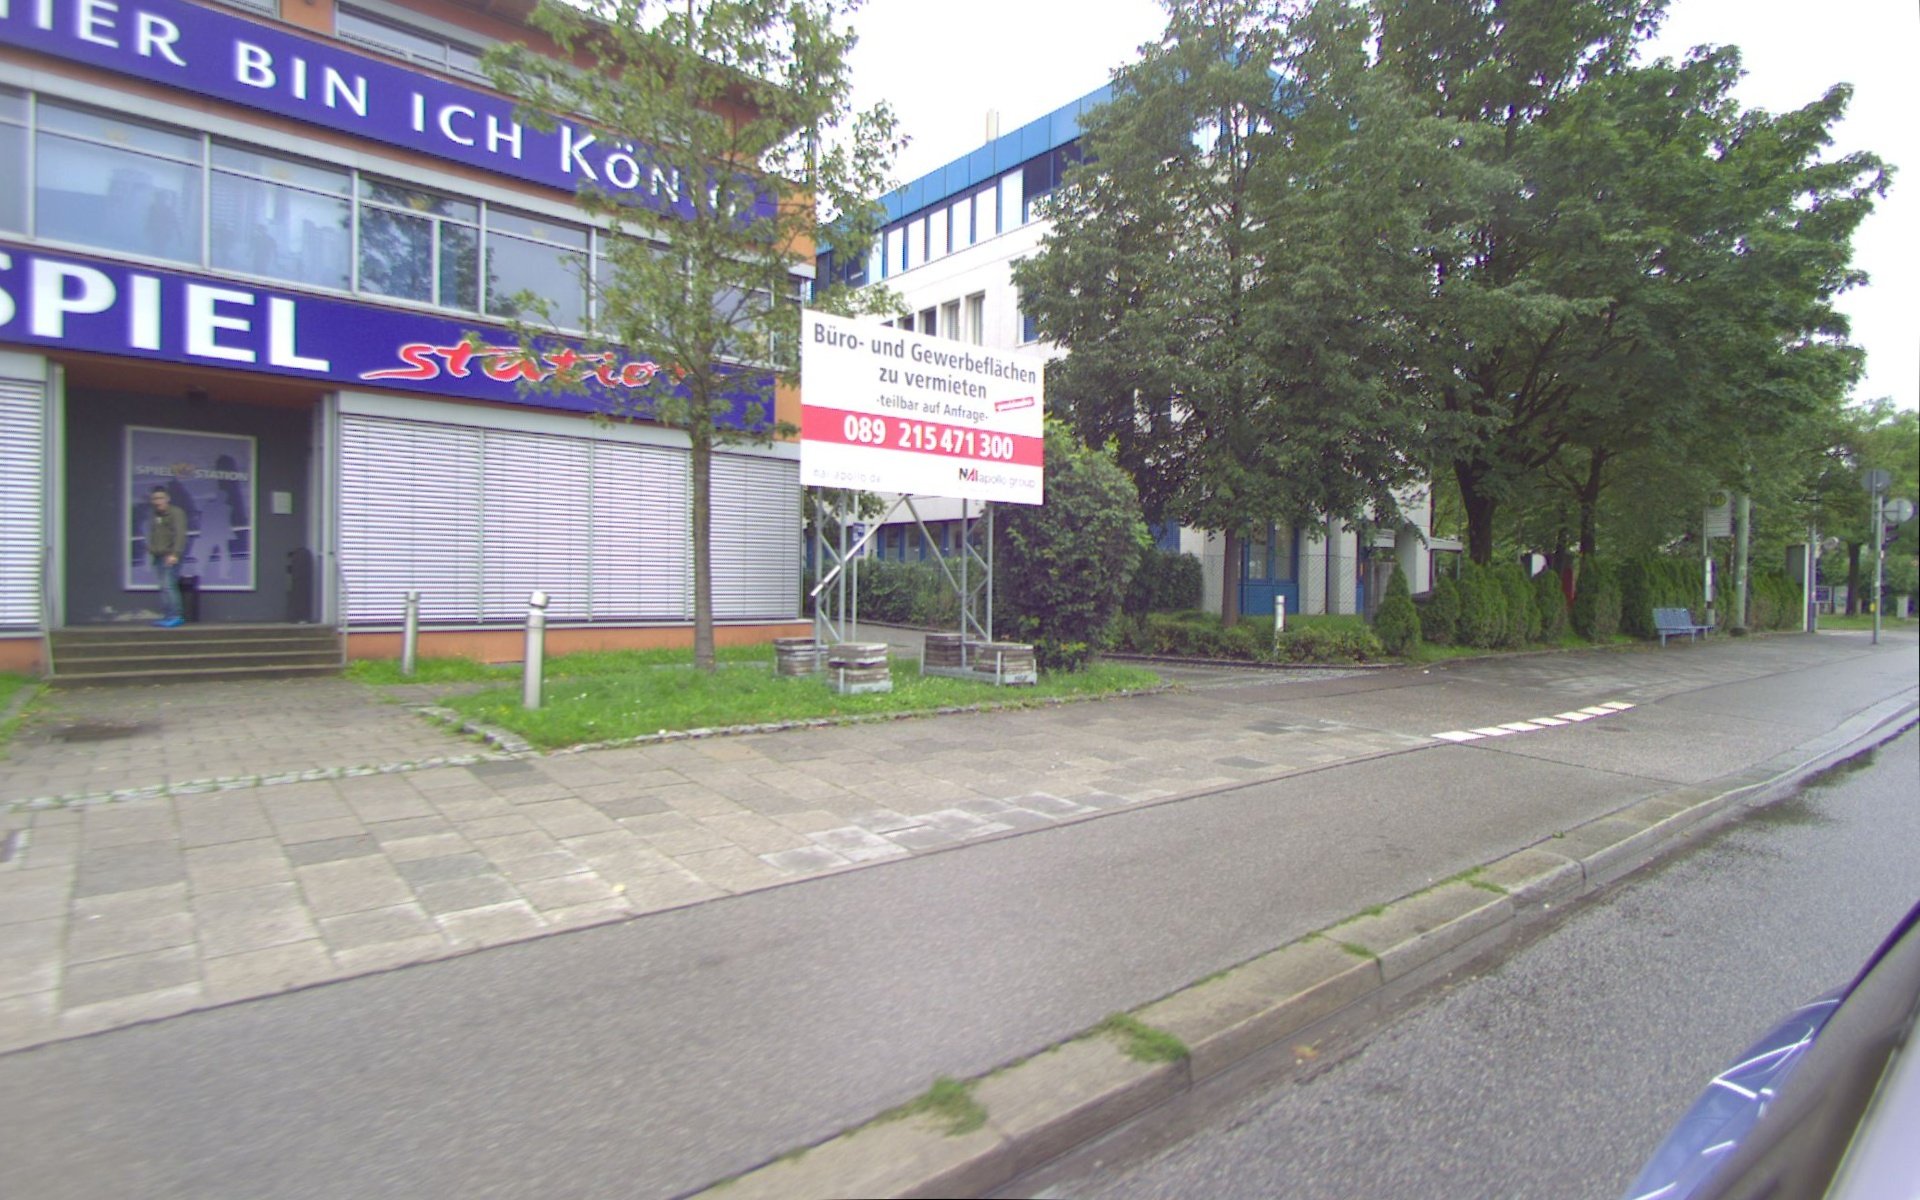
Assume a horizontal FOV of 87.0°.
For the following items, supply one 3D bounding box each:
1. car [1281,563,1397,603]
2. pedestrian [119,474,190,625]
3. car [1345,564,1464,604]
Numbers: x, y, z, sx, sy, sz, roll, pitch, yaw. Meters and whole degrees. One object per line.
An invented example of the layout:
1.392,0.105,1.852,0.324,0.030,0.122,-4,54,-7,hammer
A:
14.710,-0.704,39.554,1.830,1.436,4.186,1,2,-23,car
-9.606,-0.590,12.070,0.648,1.733,0.662,0,2,-39,pedestrian
17.468,-0.657,39.985,1.830,1.436,4.186,1,2,-23,car
